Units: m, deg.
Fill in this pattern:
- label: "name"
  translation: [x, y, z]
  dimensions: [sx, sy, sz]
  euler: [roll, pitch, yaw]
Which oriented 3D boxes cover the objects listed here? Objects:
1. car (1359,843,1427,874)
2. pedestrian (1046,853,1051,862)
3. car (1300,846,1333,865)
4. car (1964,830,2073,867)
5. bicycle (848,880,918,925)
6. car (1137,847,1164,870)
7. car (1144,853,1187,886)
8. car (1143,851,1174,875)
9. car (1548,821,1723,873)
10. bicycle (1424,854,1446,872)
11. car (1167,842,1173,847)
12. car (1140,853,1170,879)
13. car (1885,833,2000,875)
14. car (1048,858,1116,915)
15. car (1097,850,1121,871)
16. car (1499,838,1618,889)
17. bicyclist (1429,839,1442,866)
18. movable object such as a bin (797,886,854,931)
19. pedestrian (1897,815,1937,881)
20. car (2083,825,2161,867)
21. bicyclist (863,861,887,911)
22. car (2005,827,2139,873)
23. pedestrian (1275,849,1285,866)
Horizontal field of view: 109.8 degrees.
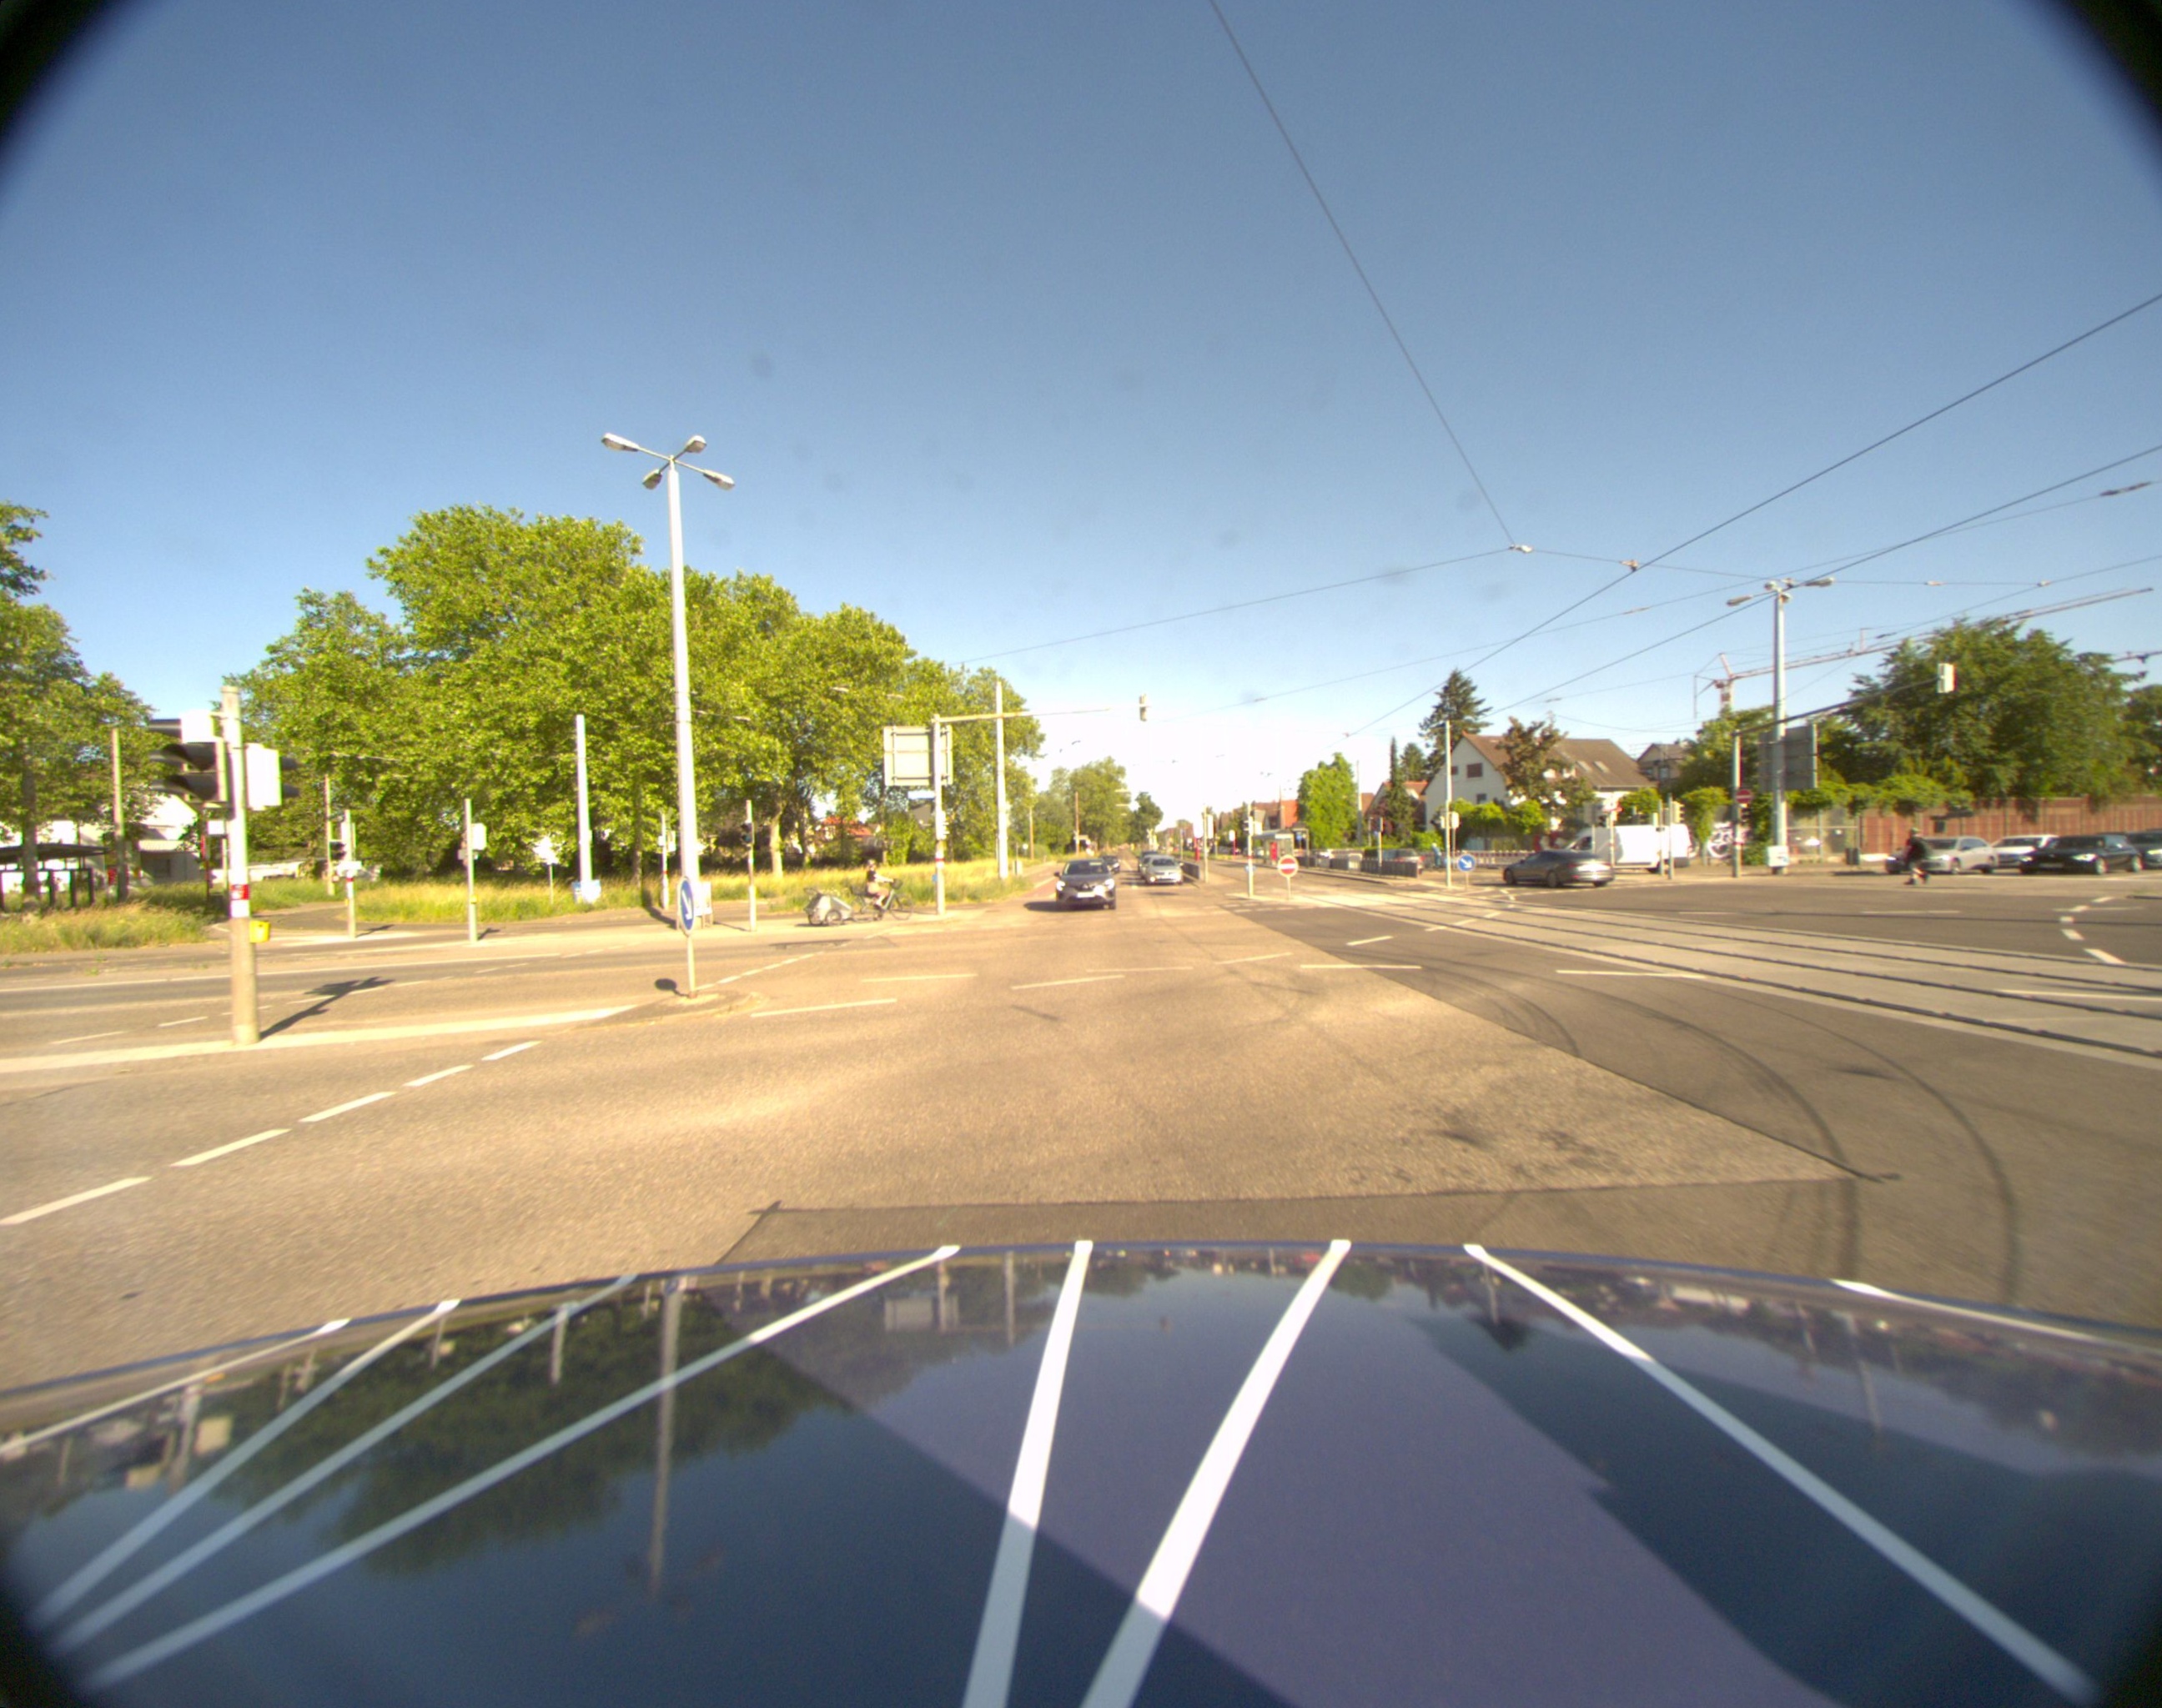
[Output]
- label: "car"
  translation: [17.705, 0.237, 43.396]
  dimensions: [1.818, 1.587, 4.692]
  euler: [-2, 0, -1]
- label: "pedestrian"
  translation: [-3.967, 0.400, 92.259]
  dimensions: [0.482, 1.027, 0.454]
  euler: [-1, 1, 4]
- label: "car"
  translation: [19.444, 0.124, 62.844]
  dimensions: [1.687, 1.450, 3.704]
  euler: [-1, 0, 3]
- label: "car"
  translation: [40.860, -0.256, 33.099]
  dimensions: [4.371, 1.458, 1.934]
  euler: [-2, 1, -24]
- label: "bicycle"
  translation: [-5.448, 1.328, 20.990]
  dimensions: [1.820, 1.112, 0.467]
  euler: [-2, 1, -11]
- label: "car"
  translation: [5.389, 0.300, 59.250]
  dimensions: [1.885, 1.686, 4.300]
  euler: [-1, 1, 2]
- label: "car"
  translation: [4.260, 0.736, 38.895]
  dimensions: [1.881, 1.519, 4.421]
  euler: [-1, 1, 2]
- label: "car"
  translation: [5.330, 0.593, 52.744]
  dimensions: [1.754, 1.525, 4.194]
  euler: [-1, 1, 1]
- label: "car"
  translation: [27.984, -0.309, 38.740]
  dimensions: [6.854, 2.443, 2.352]
  euler: [-1, 1, 24]
- label: "bicycle"
  translation: [21.329, 0.543, 45.867]
  dimensions: [0.508, 1.036, 1.949]
  euler: [-1, 0, 3]
- label: "car"
  translation: [30.803, -3.191, 263.033]
  dimensions: [1.998, 1.761, 4.001]
  euler: [-1, 1, 4]
- label: "car"
  translation: [4.438, 0.715, 46.116]
  dimensions: [1.585, 1.459, 3.415]
  euler: [-2, 0, 2]
- label: "car"
  translation: [33.611, -0.027, 29.635]
  dimensions: [4.641, 1.468, 1.669]
  euler: [-2, 1, -24]
- label: "car"
  translation: [0.122, 0.939, 23.738]
  dimensions: [1.838, 1.541, 3.816]
  euler: [-1, 1, 4]
- label: "car"
  translation: [2.212, 0.480, 59.670]
  dimensions: [1.838, 1.541, 3.816]
  euler: [-1, 1, 3]
- label: "car"
  translation: [17.376, 0.315, 27.885]
  dimensions: [1.796, 1.678, 4.001]
  euler: [-1, 0, 0]
- label: "bicyclist"
  translation: [21.303, -0.111, 45.618]
  dimensions: [0.490, 1.599, 0.648]
  euler: [-1, 1, 3]
- label: "movable object such as a bin"
  translation: [-6.650, 1.399, 19.839]
  dimensions: [1.317, 1.062, 0.910]
  euler: [-2, 1, -14]
- label: "pedestrian"
  translation: [25.109, -0.183, 22.829]
  dimensions: [0.612, 1.937, 0.774]
  euler: [-2, 1, -40]
- label: "car"
  translation: [40.219, -0.336, 28.700]
  dimensions: [4.264, 1.457, 1.935]
  euler: [-2, 0, -24]
- label: "bicyclist"
  translation: [-5.681, 0.880, 20.952]
  dimensions: [0.565, 1.333, 0.510]
  euler: [-2, 1, -13]
- label: "car"
  translation: [34.964, -0.155, 26.812]
  dimensions: [4.253, 1.458, 1.934]
  euler: [-2, 0, -24]
- label: "pedestrian"
  translation: [16.621, 0.279, 63.432]
  dimensions: [0.623, 1.406, 0.711]
  euler: [-2, 0, 2]
